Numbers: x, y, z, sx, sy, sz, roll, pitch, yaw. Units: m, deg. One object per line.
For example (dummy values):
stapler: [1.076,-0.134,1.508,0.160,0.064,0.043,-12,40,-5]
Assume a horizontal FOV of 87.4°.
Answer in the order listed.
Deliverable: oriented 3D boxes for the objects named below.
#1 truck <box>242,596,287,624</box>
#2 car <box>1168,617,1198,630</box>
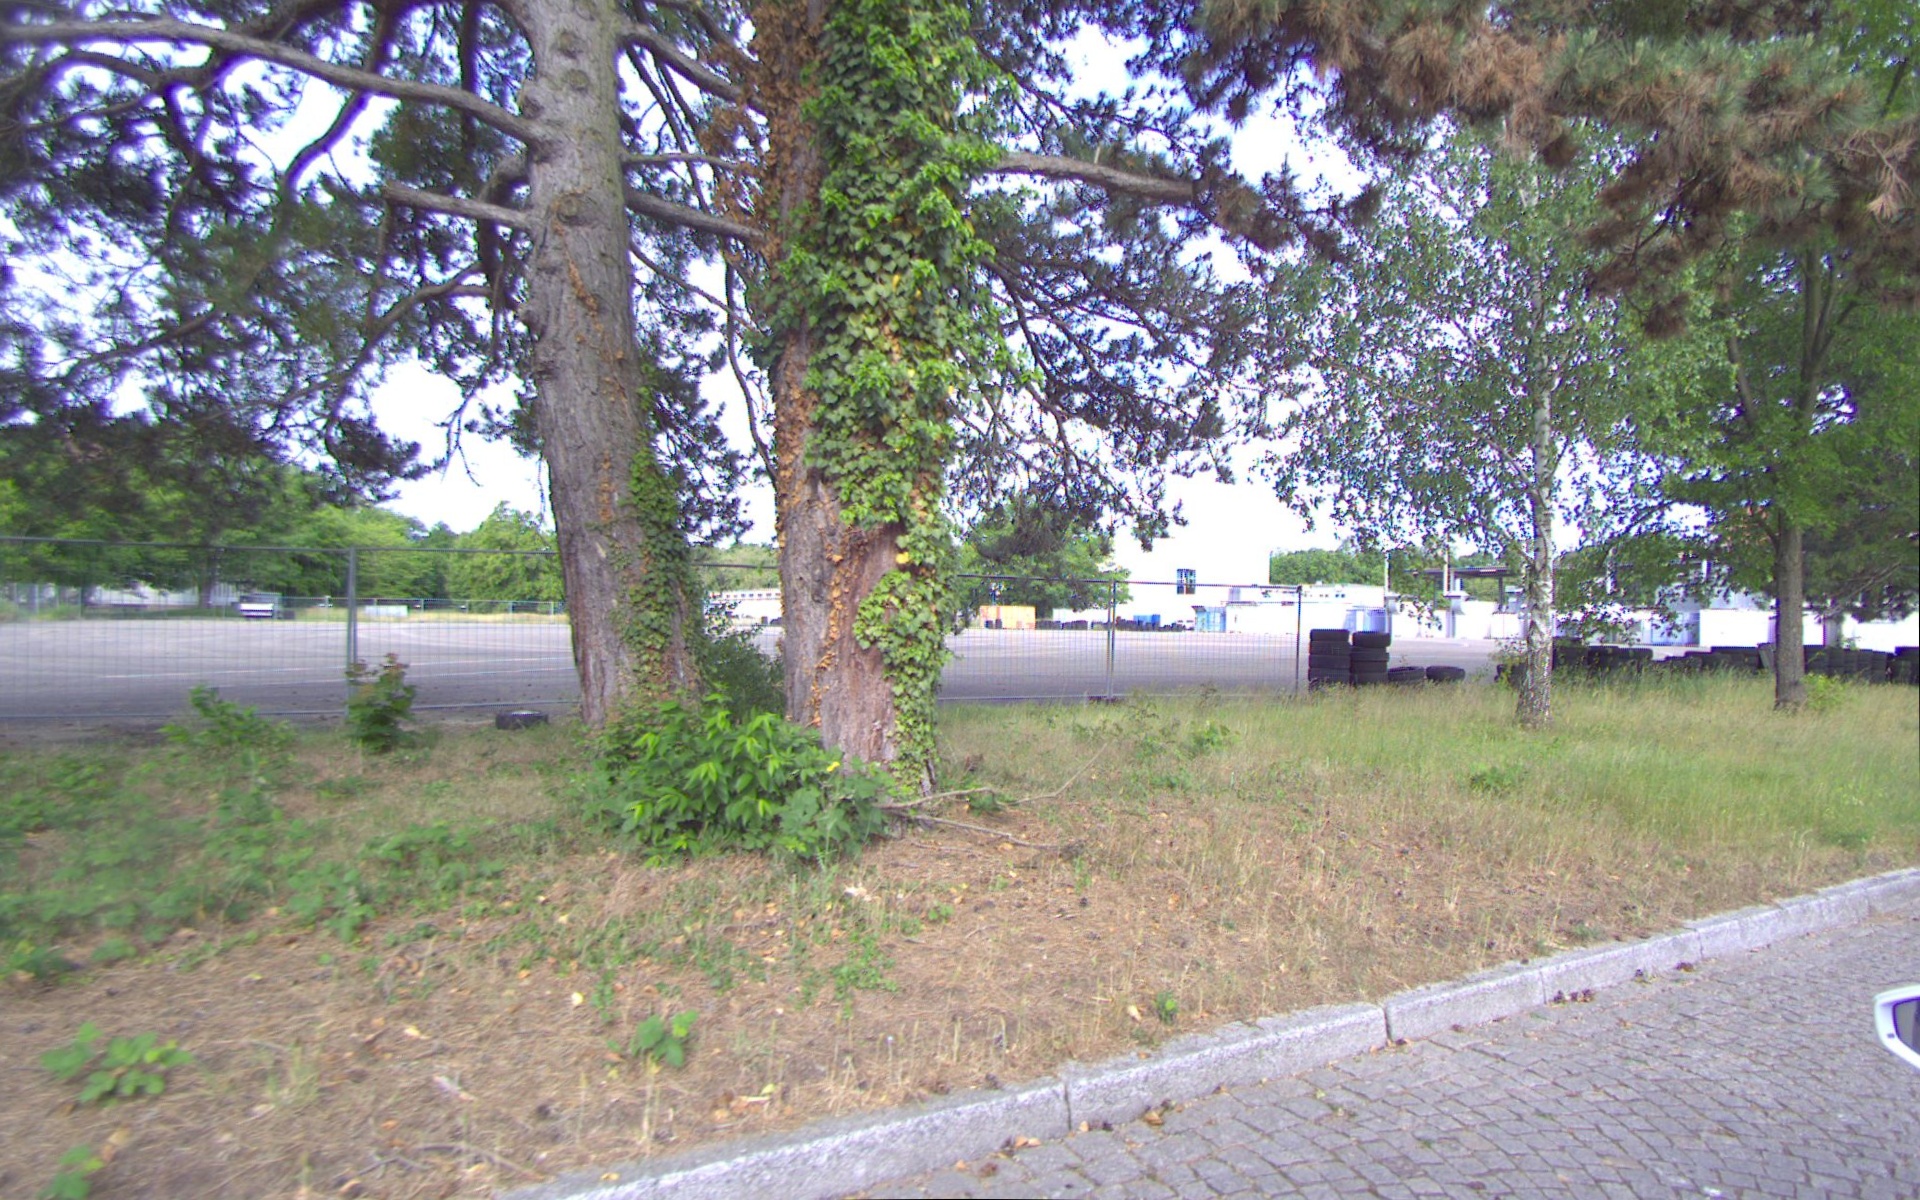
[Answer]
truck: [-58.367,0.805,84.401,2.345,2.227,6.506,1,-1,-28]
car: [29.492,3.088,133.033,1.611,1.553,3.947,1,-1,-30]
